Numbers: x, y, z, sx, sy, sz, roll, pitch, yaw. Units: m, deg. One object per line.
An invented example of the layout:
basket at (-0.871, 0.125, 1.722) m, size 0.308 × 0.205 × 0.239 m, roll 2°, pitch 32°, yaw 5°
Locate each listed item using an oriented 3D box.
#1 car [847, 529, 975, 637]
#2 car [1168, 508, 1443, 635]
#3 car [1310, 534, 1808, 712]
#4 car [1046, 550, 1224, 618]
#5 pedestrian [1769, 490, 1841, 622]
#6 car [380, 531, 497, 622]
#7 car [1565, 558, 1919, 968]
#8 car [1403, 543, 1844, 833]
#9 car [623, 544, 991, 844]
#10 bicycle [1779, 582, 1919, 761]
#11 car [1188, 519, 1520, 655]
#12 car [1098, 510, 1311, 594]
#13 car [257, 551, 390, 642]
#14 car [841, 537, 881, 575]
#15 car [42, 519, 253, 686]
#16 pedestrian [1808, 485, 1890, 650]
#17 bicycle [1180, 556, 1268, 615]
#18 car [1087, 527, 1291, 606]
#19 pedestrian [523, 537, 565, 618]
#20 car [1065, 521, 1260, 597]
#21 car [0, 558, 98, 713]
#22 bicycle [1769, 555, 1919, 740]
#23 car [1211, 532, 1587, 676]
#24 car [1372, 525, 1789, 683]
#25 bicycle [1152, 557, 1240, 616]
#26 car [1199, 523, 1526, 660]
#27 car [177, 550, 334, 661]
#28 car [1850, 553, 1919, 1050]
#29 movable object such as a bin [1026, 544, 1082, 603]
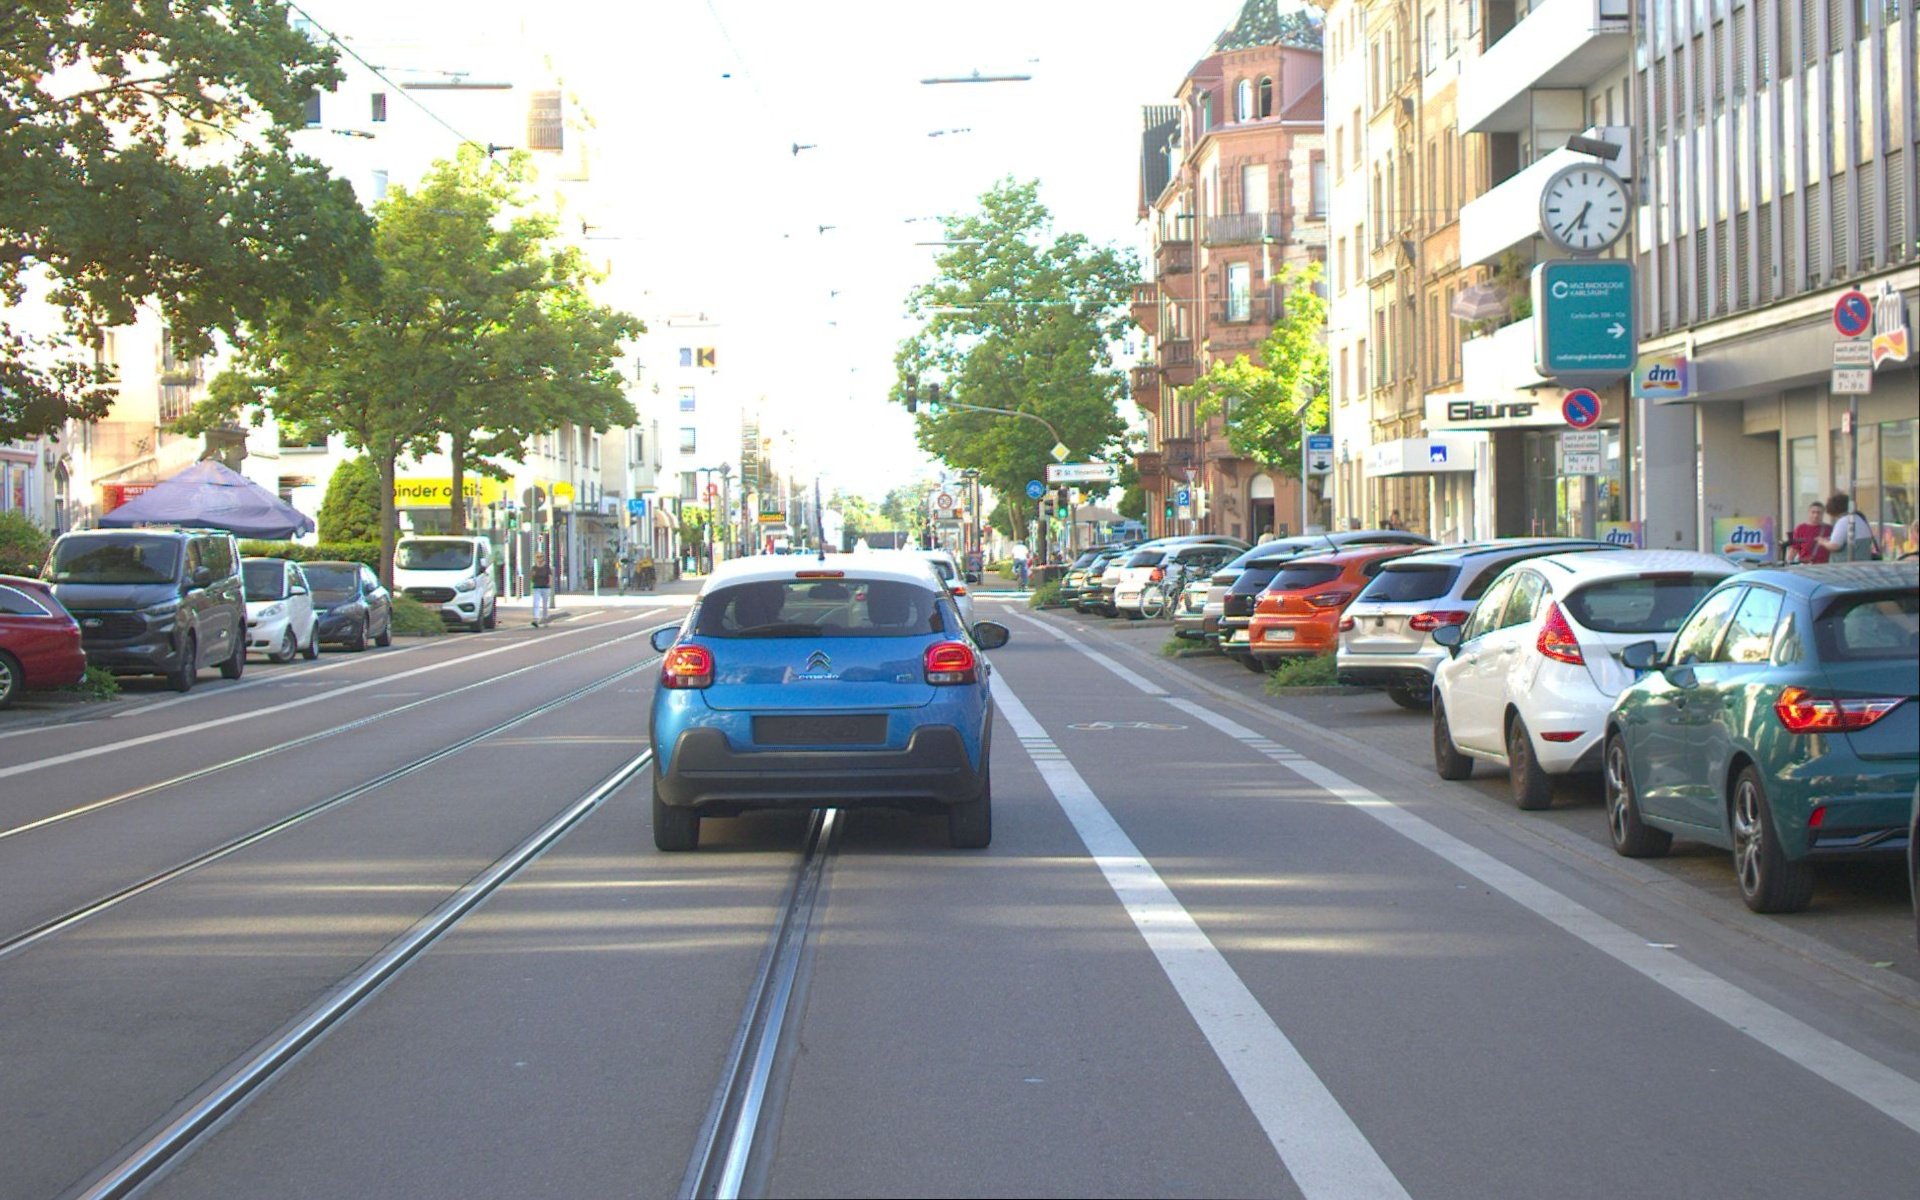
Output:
car at (-0.732, -0.266, 52.474) m, size 1.873 × 1.590 × 4.000 m, roll 0°, pitch 1°, yaw 0°
car at (4.645, -0.385, 46.089) m, size 3.442 × 1.634 × 1.684 m, roll 0°, pitch 1°, yaw -37°
car at (5.391, 0.177, 30.747) m, size 4.439 × 1.503 × 1.536 m, roll 0°, pitch 1°, yaw -30°
car at (4.004, -0.377, 78.738) m, size 3.653 × 1.529 × 1.789 m, roll 0°, pitch 1°, yaw -20°
pedestrian at (10.212, -0.529, 41.576) m, size 0.692 × 1.582 × 0.678 m, roll 0°, pitch 0°, yaw -1°
car at (-10.792, -0.494, 71.399) m, size 1.831 × 1.841 × 4.214 m, roll 0°, pitch 1°, yaw -1°
car at (4.001, 0.612, 15.329) m, size 1.873 × 1.590 × 4.000 m, roll 0°, pitch 1°, yaw 0°
car at (3.899, 0.460, 20.865) m, size 1.873 × 1.590 × 4.000 m, roll 0°, pitch 1°, yaw 0°
car at (-0.766, 0.431, 18.261) m, size 1.762 × 1.436 × 3.557 m, roll 0°, pitch 1°, yaw -1°
bicycle at (6.742, 0.489, 23.772) m, size 2.021 × 1.217 × 0.663 m, roll 0°, pitch 0°, yaw 22°
car at (4.981, -0.172, 43.404) m, size 3.719 × 1.646 × 2.047 m, roll 0°, pitch 1°, yaw -33°
car at (4.707, -0.924, 66.113) m, size 3.653 × 1.568 × 1.861 m, roll 0°, pitch 1°, yaw -29°
car at (-10.666, -0.081, 57.859) m, size 1.747 × 1.482 × 4.043 m, roll 0°, pitch 1°, yaw -4°
car at (-3.757, -1.673, 130.656) m, size 1.423 × 1.427 × 3.139 m, roll 0°, pitch 1°, yaw 0°
car at (-10.161, 0.001, 43.323) m, size 1.747 × 1.967 × 5.241 m, roll 0°, pitch 1°, yaw -4°
pedestrian at (9.488, -0.347, 36.707) m, size 0.692 × 1.750 × 0.678 m, roll 0°, pitch 0°, yaw -1°
bicycle at (4.780, -0.266, 62.387) m, size 0.553 × 1.044 × 1.807 m, roll 0°, pitch 1°, yaw -36°
car at (4.587, -0.675, 69.033) m, size 3.653 × 1.568 × 1.861 m, roll 0°, pitch 1°, yaw -20°
pedestrian at (-8.937, -0.479, 73.836) m, size 0.729 × 1.720 × 0.628 m, roll 0°, pitch 0°, yaw -25°
car at (4.247, -0.863, 72.172) m, size 3.653 × 1.568 × 1.861 m, roll 0°, pitch 1°, yaw -20°
car at (-11.159, 0.364, 36.416) m, size 3.722 × 1.617 × 1.789 m, roll 0°, pitch 1°, yaw -22°
bicycle at (5.800, 0.297, 22.499) m, size 0.693 × 1.181 × 1.239 m, roll 0°, pitch 0°, yaw -1°
car at (4.847, 0.021, 37.862) m, size 3.719 × 1.515 × 1.968 m, roll 0°, pitch 1°, yaw -33°
car at (6.158, 0.021, 34.081) m, size 3.774 × 1.482 × 1.838 m, roll 0°, pitch 1°, yaw -30°
bicycle at (4.256, -0.253, 62.028) m, size 0.553 × 1.044 × 1.807 m, roll 0°, pitch 1°, yaw -36°
car at (4.744, -0.112, 40.437) m, size 3.441 × 1.550 × 1.824 m, roll 0°, pitch 1°, yaw -32°
car at (-10.666, 0.052, 52.301) m, size 1.747 × 1.612 × 4.411 m, roll 0°, pitch 1°, yaw -4°
car at (4.020, 0.659, 9.496) m, size 1.873 × 1.590 × 4.719 m, roll 0°, pitch 1°, yaw 0°
movable object such as a bin at (2.400, -0.683, 88.024) m, size 1.394 × 1.478 × 1.655 m, roll 0°, pitch 0°, yaw -1°
